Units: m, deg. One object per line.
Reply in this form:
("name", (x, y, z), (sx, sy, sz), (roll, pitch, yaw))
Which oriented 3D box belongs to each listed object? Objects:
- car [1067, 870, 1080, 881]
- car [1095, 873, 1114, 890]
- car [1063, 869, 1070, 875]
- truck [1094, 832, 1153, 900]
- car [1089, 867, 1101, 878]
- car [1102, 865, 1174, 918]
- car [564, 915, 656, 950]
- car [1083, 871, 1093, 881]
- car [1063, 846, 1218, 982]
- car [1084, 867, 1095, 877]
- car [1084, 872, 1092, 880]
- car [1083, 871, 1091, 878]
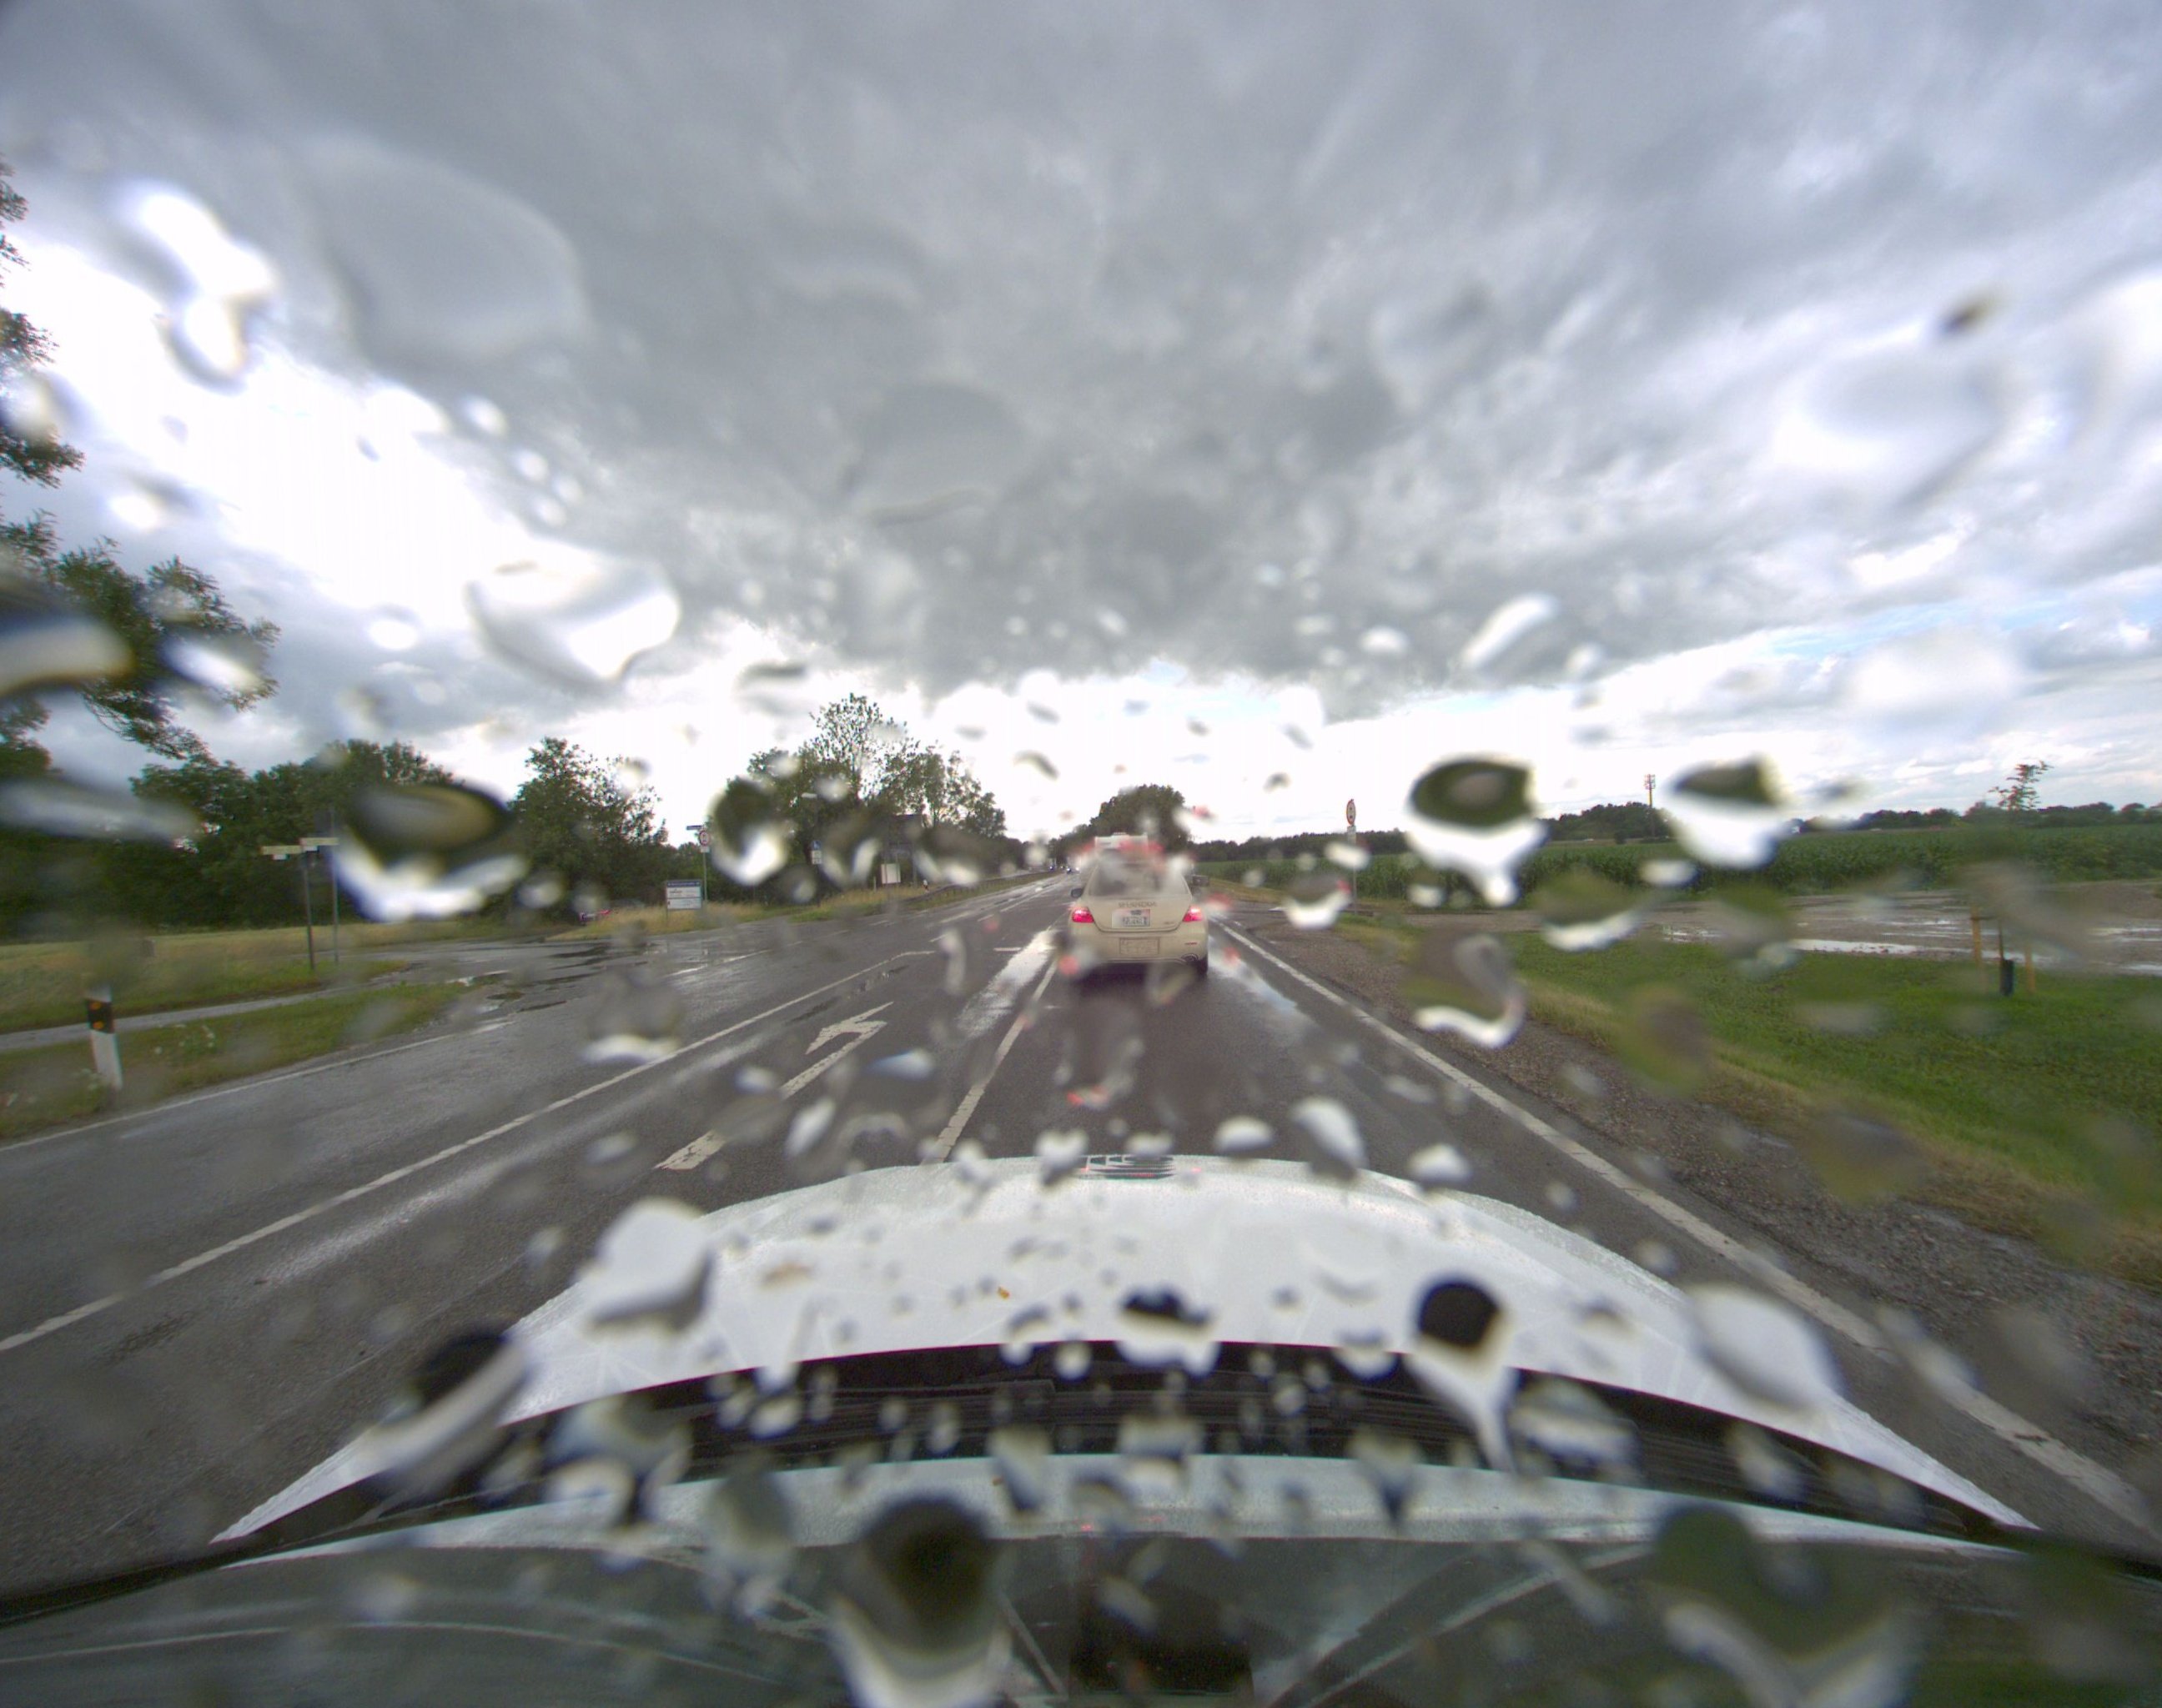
("car", (-1.122, 3.162, 121.664), (1.821, 1.574, 4.002), (0, -1, 2))
("car", (2.721, 3.132, 92.568), (1.907, 1.841, 3.799), (-2, -1, 4))
("car", (-3.731, 4.568, 210.234), (1.603, 1.492, 3.783), (-2, -1, -1))
("truck", (1.909, 0.552, 37.761), (2.354, 2.729, 7.316), (-2, -1, 2))
("car", (2.379, 3.066, 137.759), (1.784, 1.777, 3.722), (-2, -1, 2))
("car", (1.655, 1.096, 24.690), (1.986, 1.462, 4.001), (0, -1, 2))
("car", (-25.319, 4.188, 44.008), (2.295, 1.547, 4.630), (0, -1, -1))
("car", (1.399, 4.488, 165.651), (1.845, 2.014, 3.812), (-2, -1, 2))
("car", (0.780, 0.757, 11.807), (1.836, 1.618, 4.001), (-1, -1, 2))
("car", (1.683, 3.501, 156.453), (1.872, 1.761, 3.835), (-2, -1, 2))
("car", (1.610, 5.169, 191.390), (1.733, 1.860, 3.786), (-2, -1, 2))
("car", (1.430, 5.016, 202.328), (1.744, 1.662, 3.668), (-2, -1, -3))
